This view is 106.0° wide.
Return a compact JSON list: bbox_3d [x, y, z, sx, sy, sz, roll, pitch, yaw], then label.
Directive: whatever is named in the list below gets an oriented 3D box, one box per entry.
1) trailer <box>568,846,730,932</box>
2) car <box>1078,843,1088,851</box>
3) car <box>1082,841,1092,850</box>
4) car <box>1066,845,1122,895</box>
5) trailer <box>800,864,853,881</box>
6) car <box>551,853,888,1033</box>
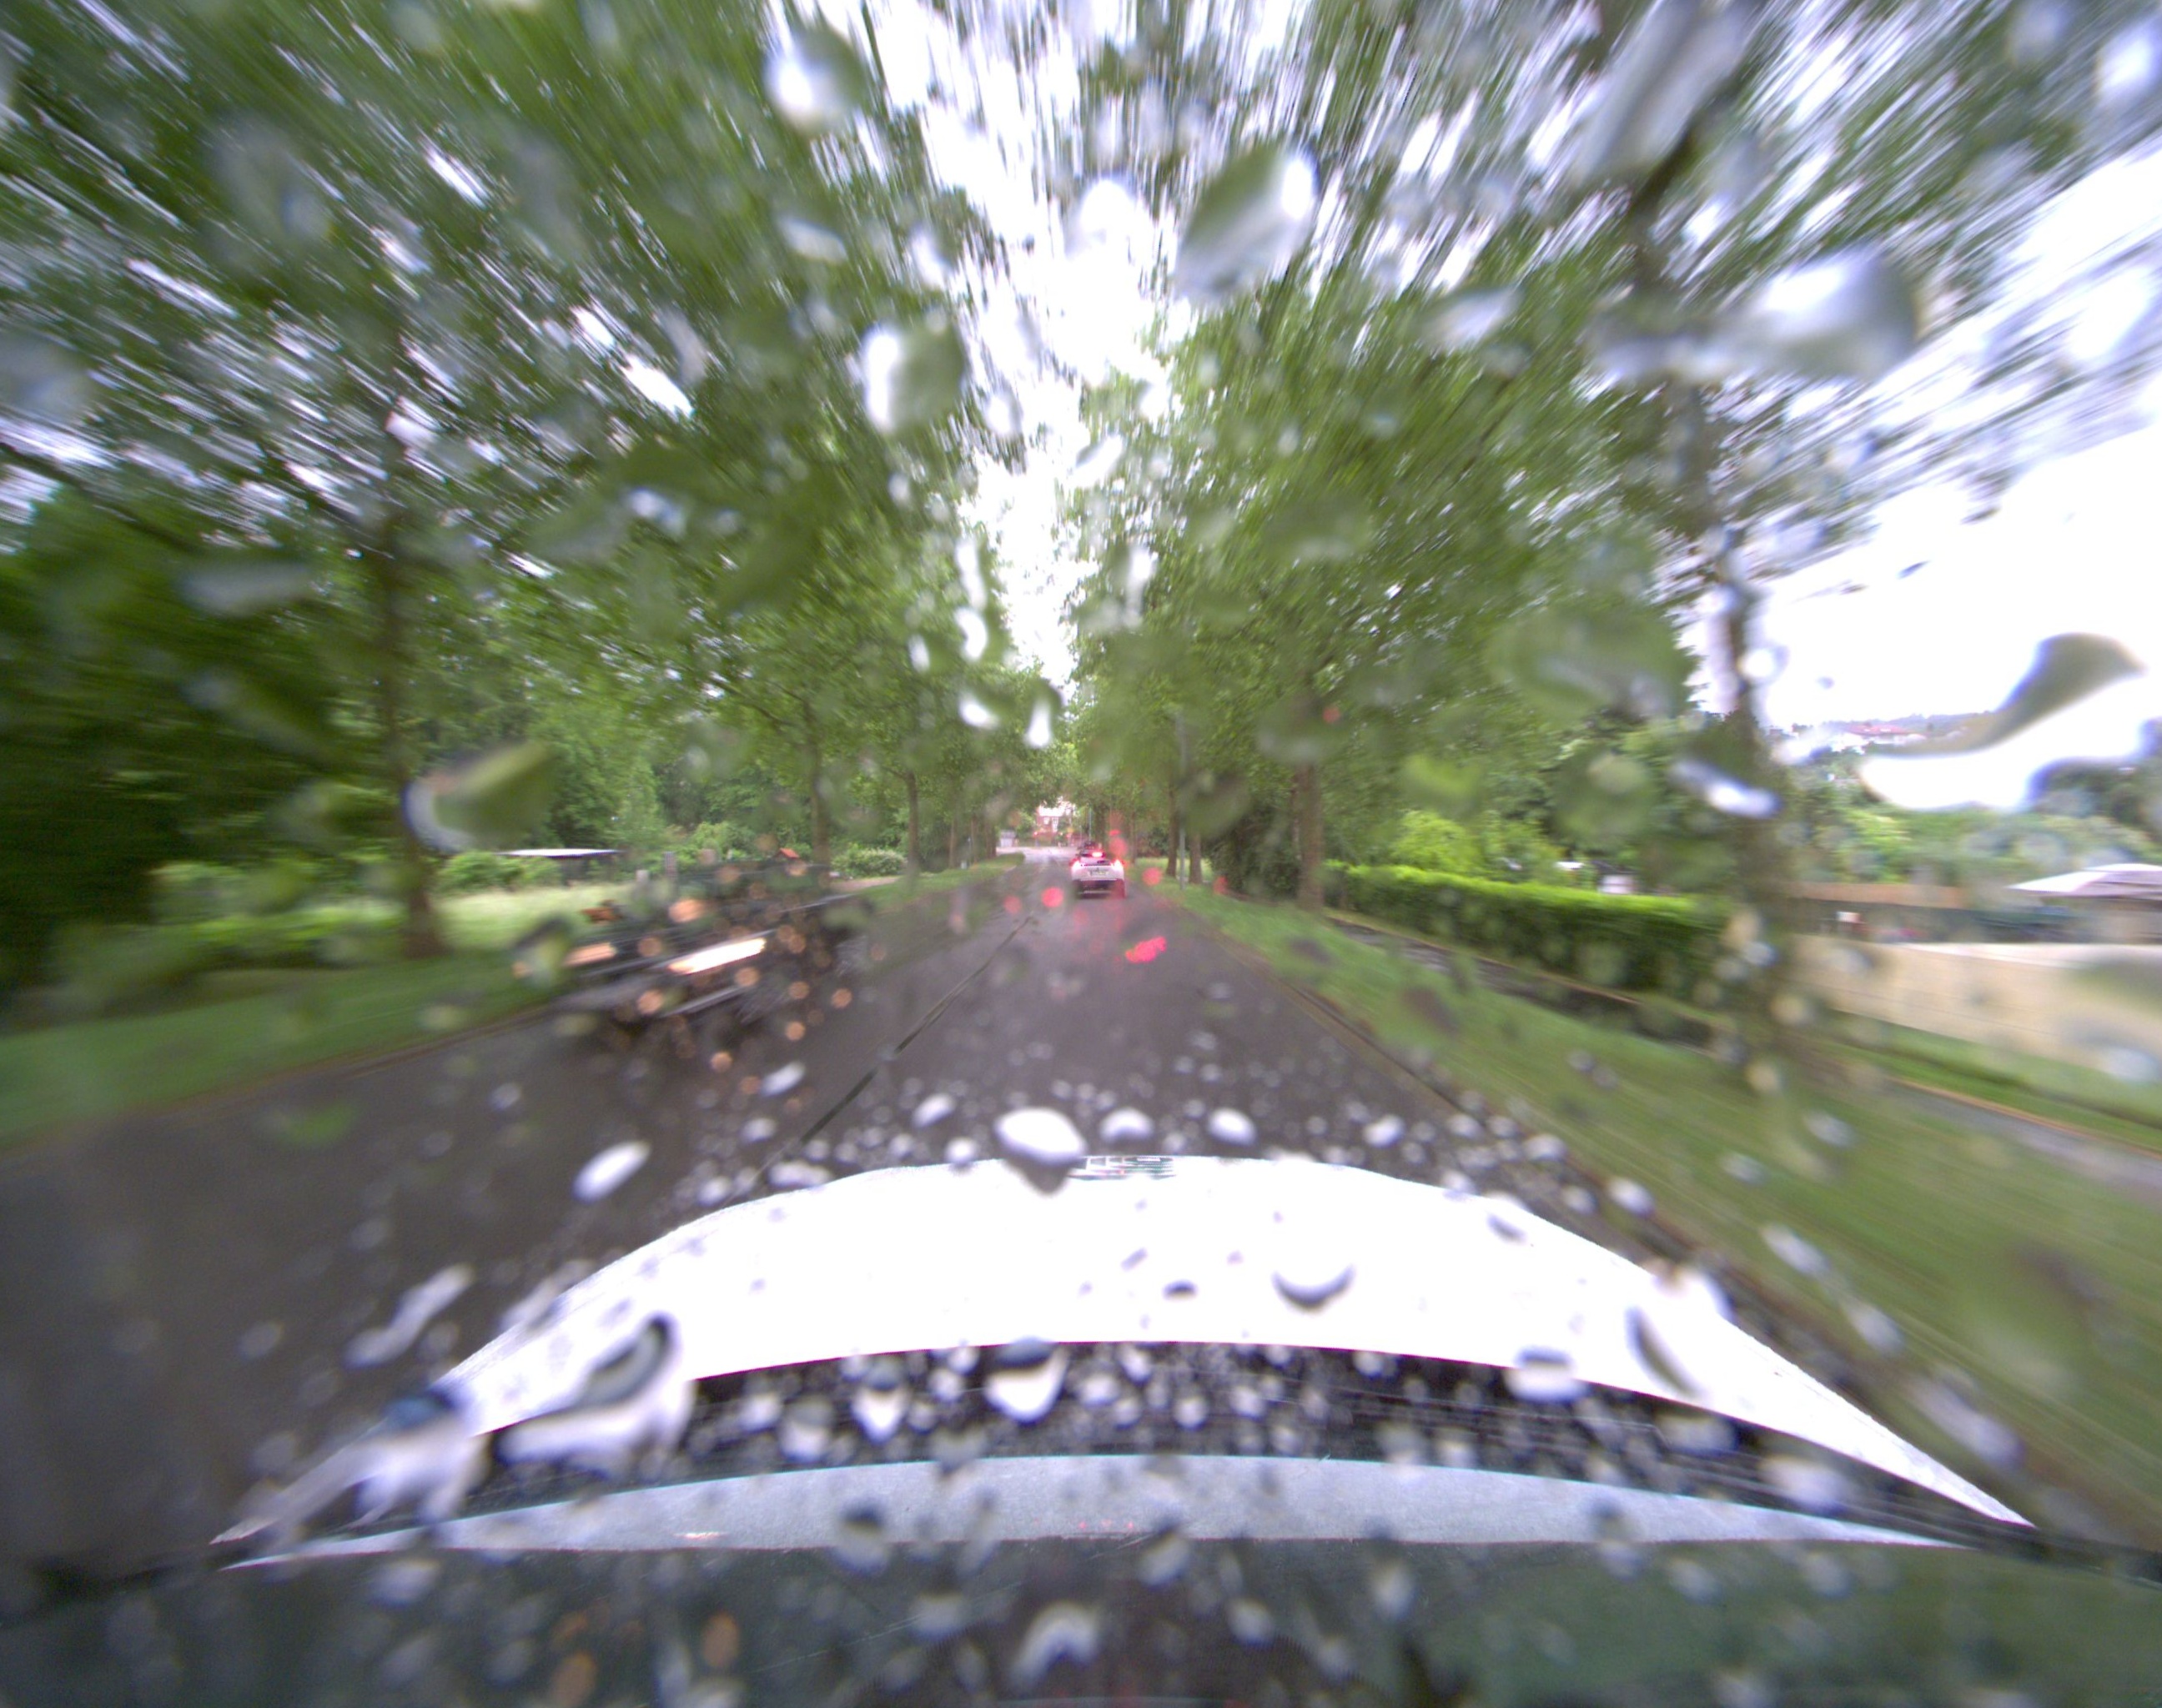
[{"bbox_3d":[-14.142,1.030,27.163,2.476,2.567,5.333,0,0,1],"label":"trailer"},{"bbox_3d":[0.481,-1.332,163.398,1.819,1.596,3.657,0,0,3],"label":"car"},{"bbox_3d":[1.121,-1.604,153.719,1.819,1.596,3.657,0,0,3],"label":"car"},{"bbox_3d":[0.479,0.491,27.970,1.787,1.578,3.846,0,1,1],"label":"car"},{"bbox_3d":[-19.737,1.405,63.289,3.549,1.178,1.819,-1,1,-7],"label":"trailer"},{"bbox_3d":[-3.486,0.734,8.748,1.699,1.486,3.885,0,0,3],"label":"car"}]
